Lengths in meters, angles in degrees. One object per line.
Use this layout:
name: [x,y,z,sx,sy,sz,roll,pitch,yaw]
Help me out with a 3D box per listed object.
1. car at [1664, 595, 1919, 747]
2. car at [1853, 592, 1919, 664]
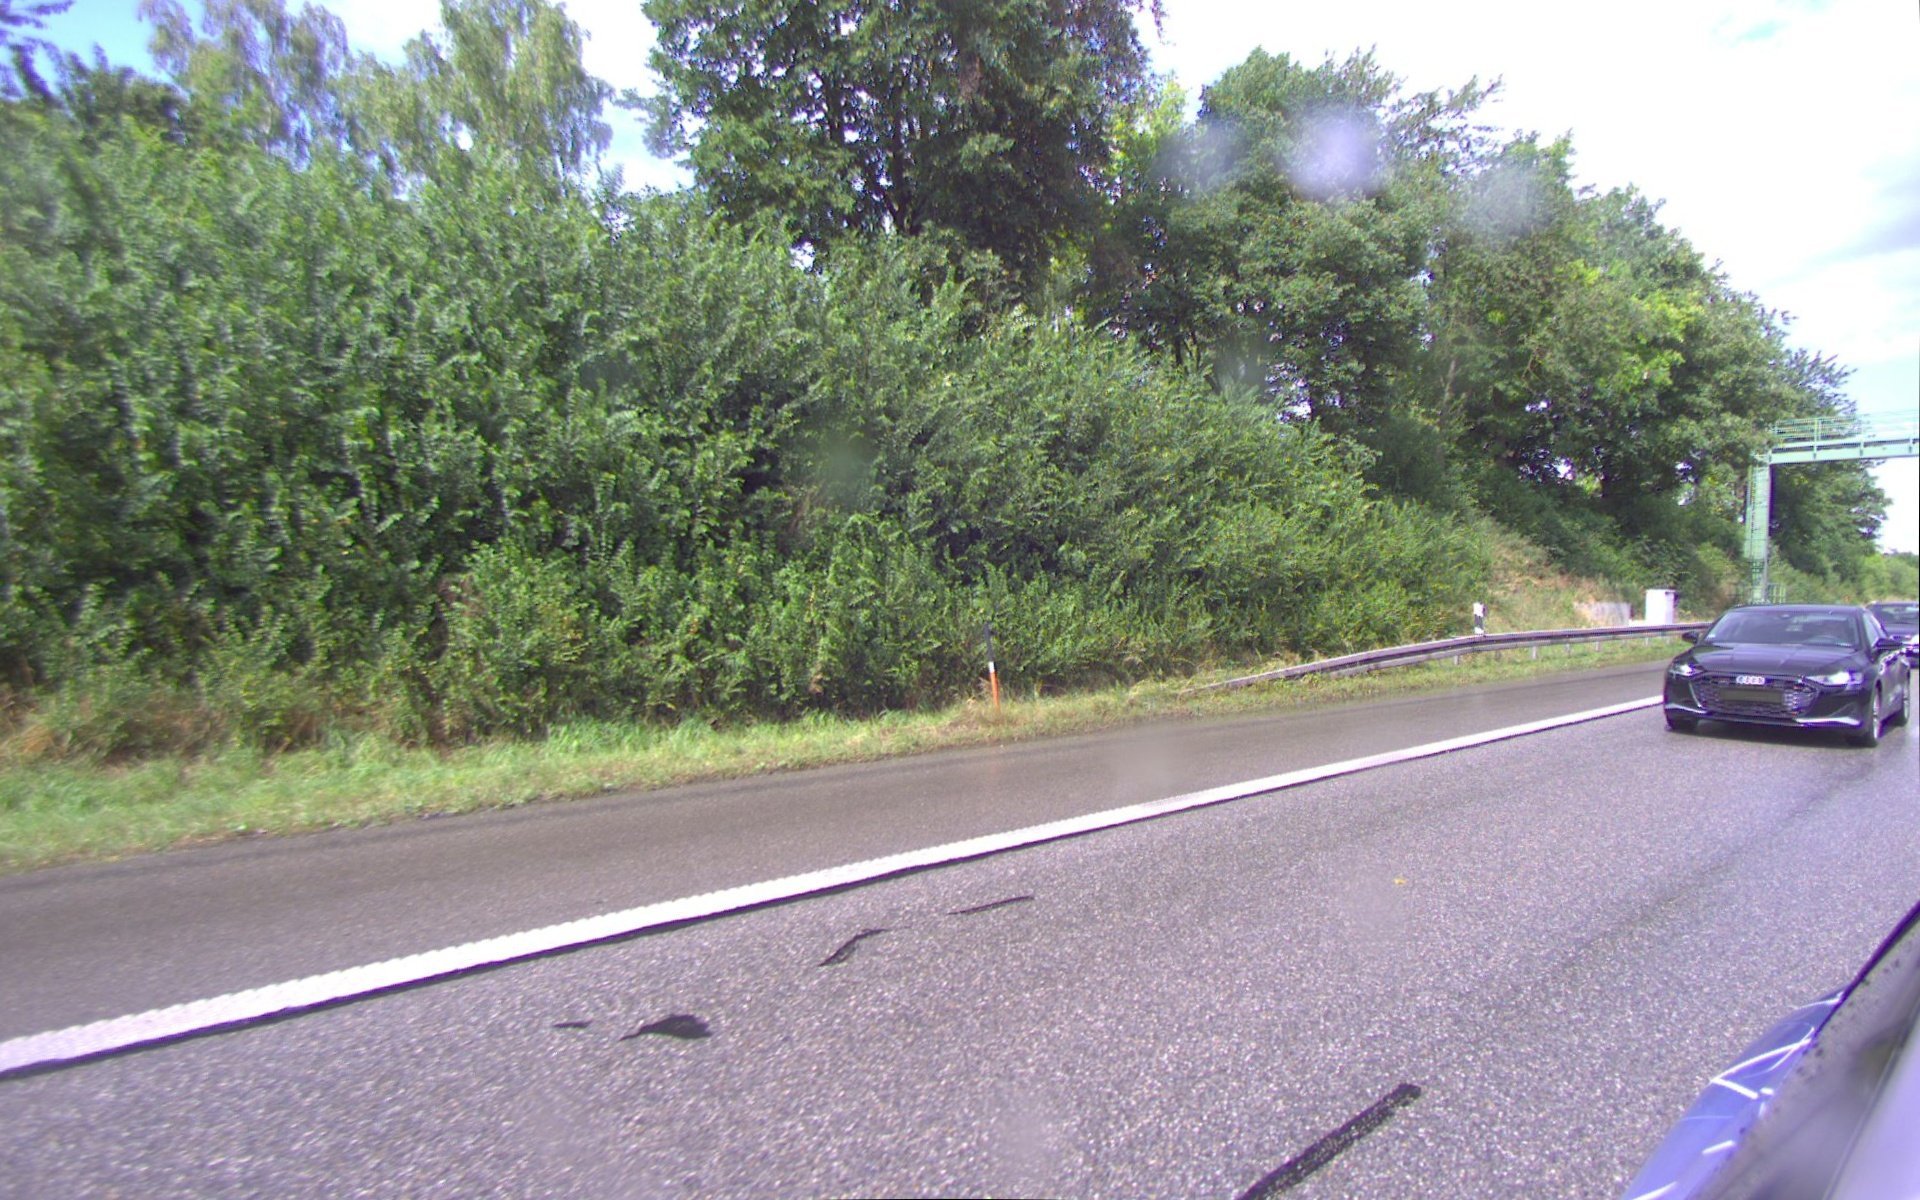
car: [9.719,0.655,11.584,4.292,1.414,1.758,0,1,-41]
car: [21.000,0.559,22.266,3.681,1.474,1.653,0,1,-42]
